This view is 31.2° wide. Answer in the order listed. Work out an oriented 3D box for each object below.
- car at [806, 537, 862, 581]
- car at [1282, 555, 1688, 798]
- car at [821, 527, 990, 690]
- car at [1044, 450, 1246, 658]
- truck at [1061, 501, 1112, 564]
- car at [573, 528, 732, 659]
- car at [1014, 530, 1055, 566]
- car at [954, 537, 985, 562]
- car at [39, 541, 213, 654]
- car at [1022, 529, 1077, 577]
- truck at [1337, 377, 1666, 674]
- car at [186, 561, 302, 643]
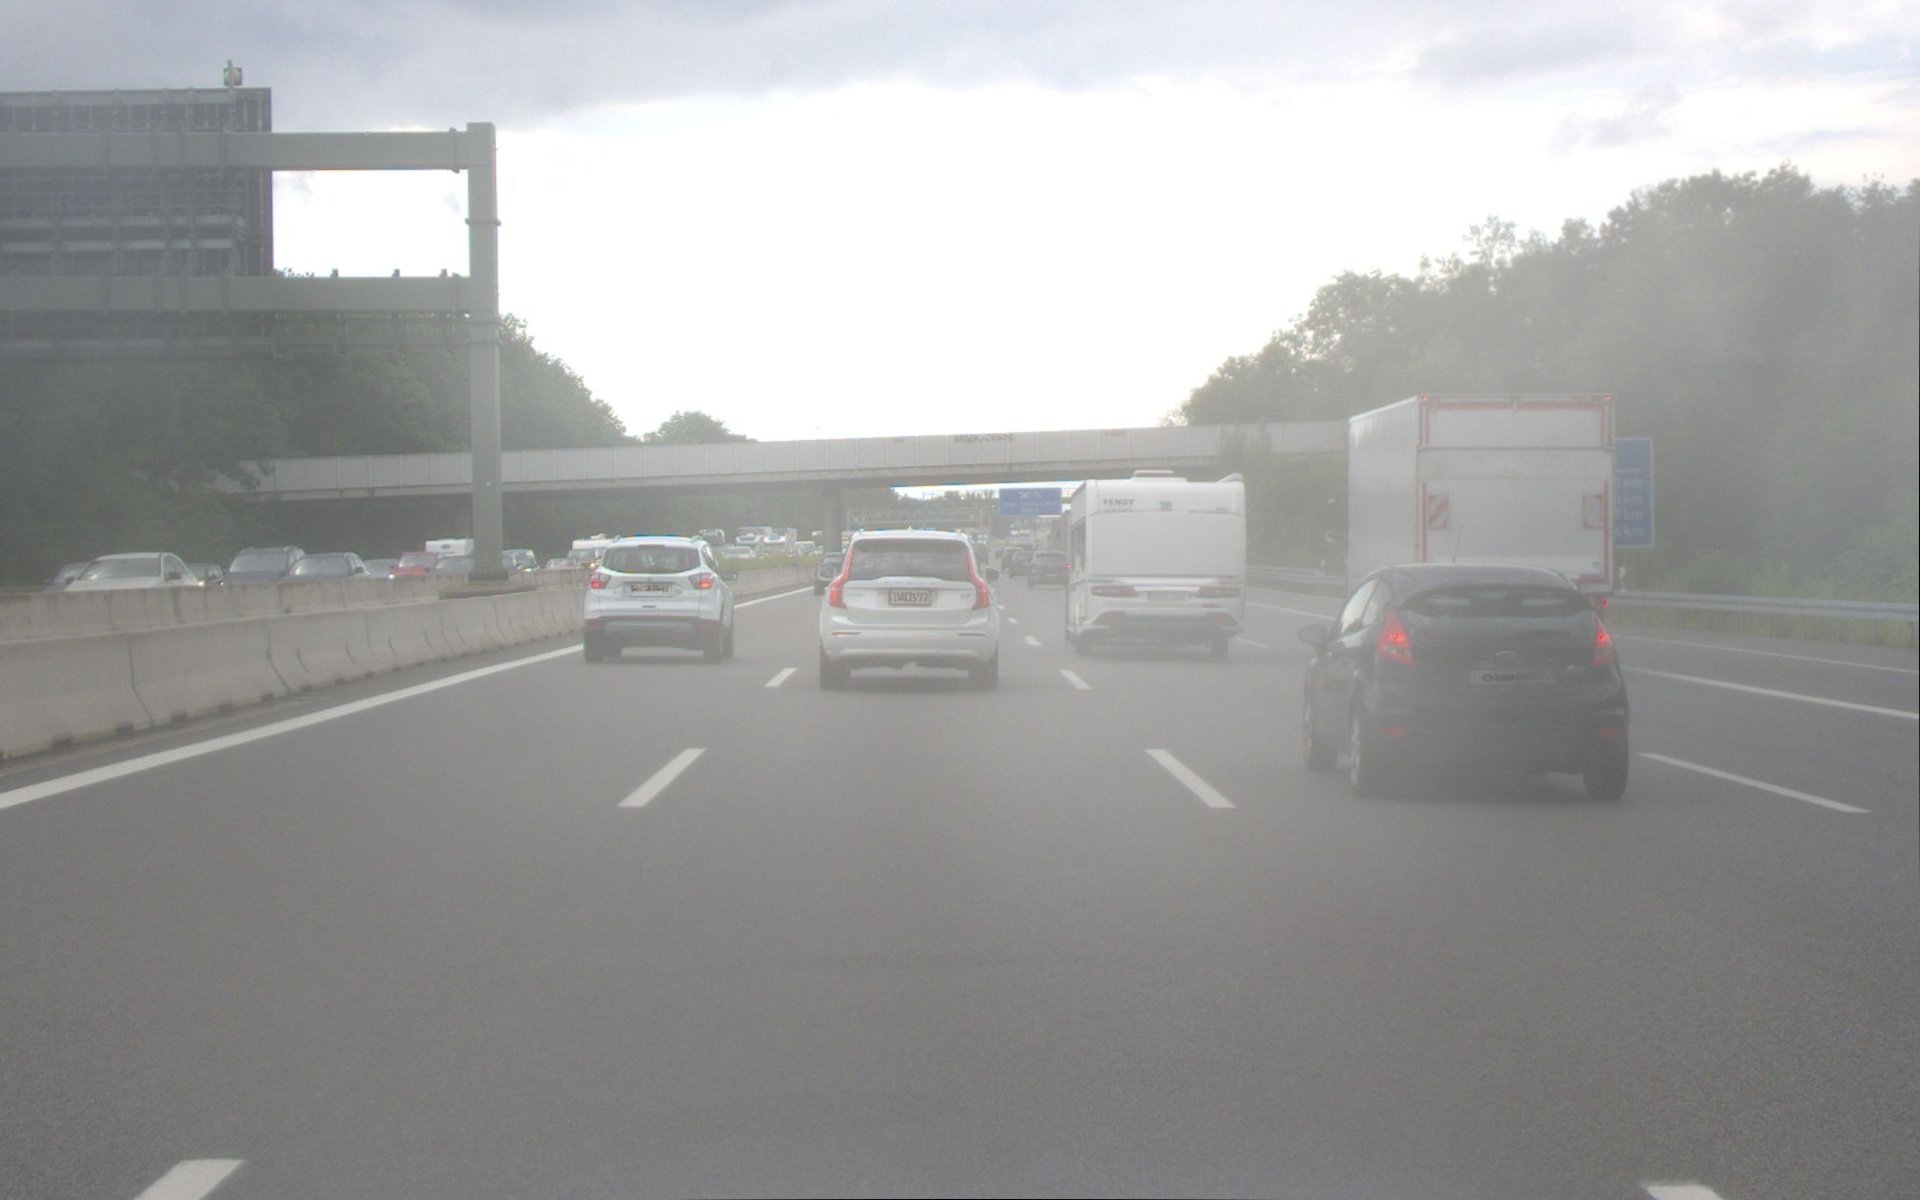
[{"bbox_3d":[-4.337,-1.436,118.539,1.781,1.476,4.353,0,1,0],"label":"car"},{"bbox_3d":[3.302,0.425,22.432,1.885,1.402,4.283,0,1,-1],"label":"car"},{"bbox_3d":[-0.636,0.052,38.485,1.781,1.710,4.353,0,1,-2],"label":"car"},{"bbox_3d":[2.669,-0.711,51.697,2.567,2.885,7.534,0,1,0],"label":"car"},{"bbox_3d":[7.847,-4.180,213.358,2.906,3.797,7.274,0,1,0],"label":"truck"},{"bbox_3d":[-4.163,-0.139,47.139,1.815,1.684,4.852,0,1,-1],"label":"car"},{"bbox_3d":[3.887,-2.744,180.828,2.043,1.817,4.904,0,1,0],"label":"car"},{"bbox_3d":[0.644,-3.379,230.941,1.881,1.680,4.001,0,1,-3],"label":"car"},{"bbox_3d":[-14.458,-0.075,59.853,1.993,1.885,4.362,0,1,0],"label":"car"},{"bbox_3d":[3.519,-1.865,135.701,2.043,1.817,4.904,0,1,0],"label":"car"},{"bbox_3d":[7.329,-1.022,48.034,3.133,3.697,9.848,0,1,1],"label":"truck"},{"bbox_3d":[-18.367,0.019,88.384,1.993,2.007,4.760,0,1,0],"label":"car"}]
